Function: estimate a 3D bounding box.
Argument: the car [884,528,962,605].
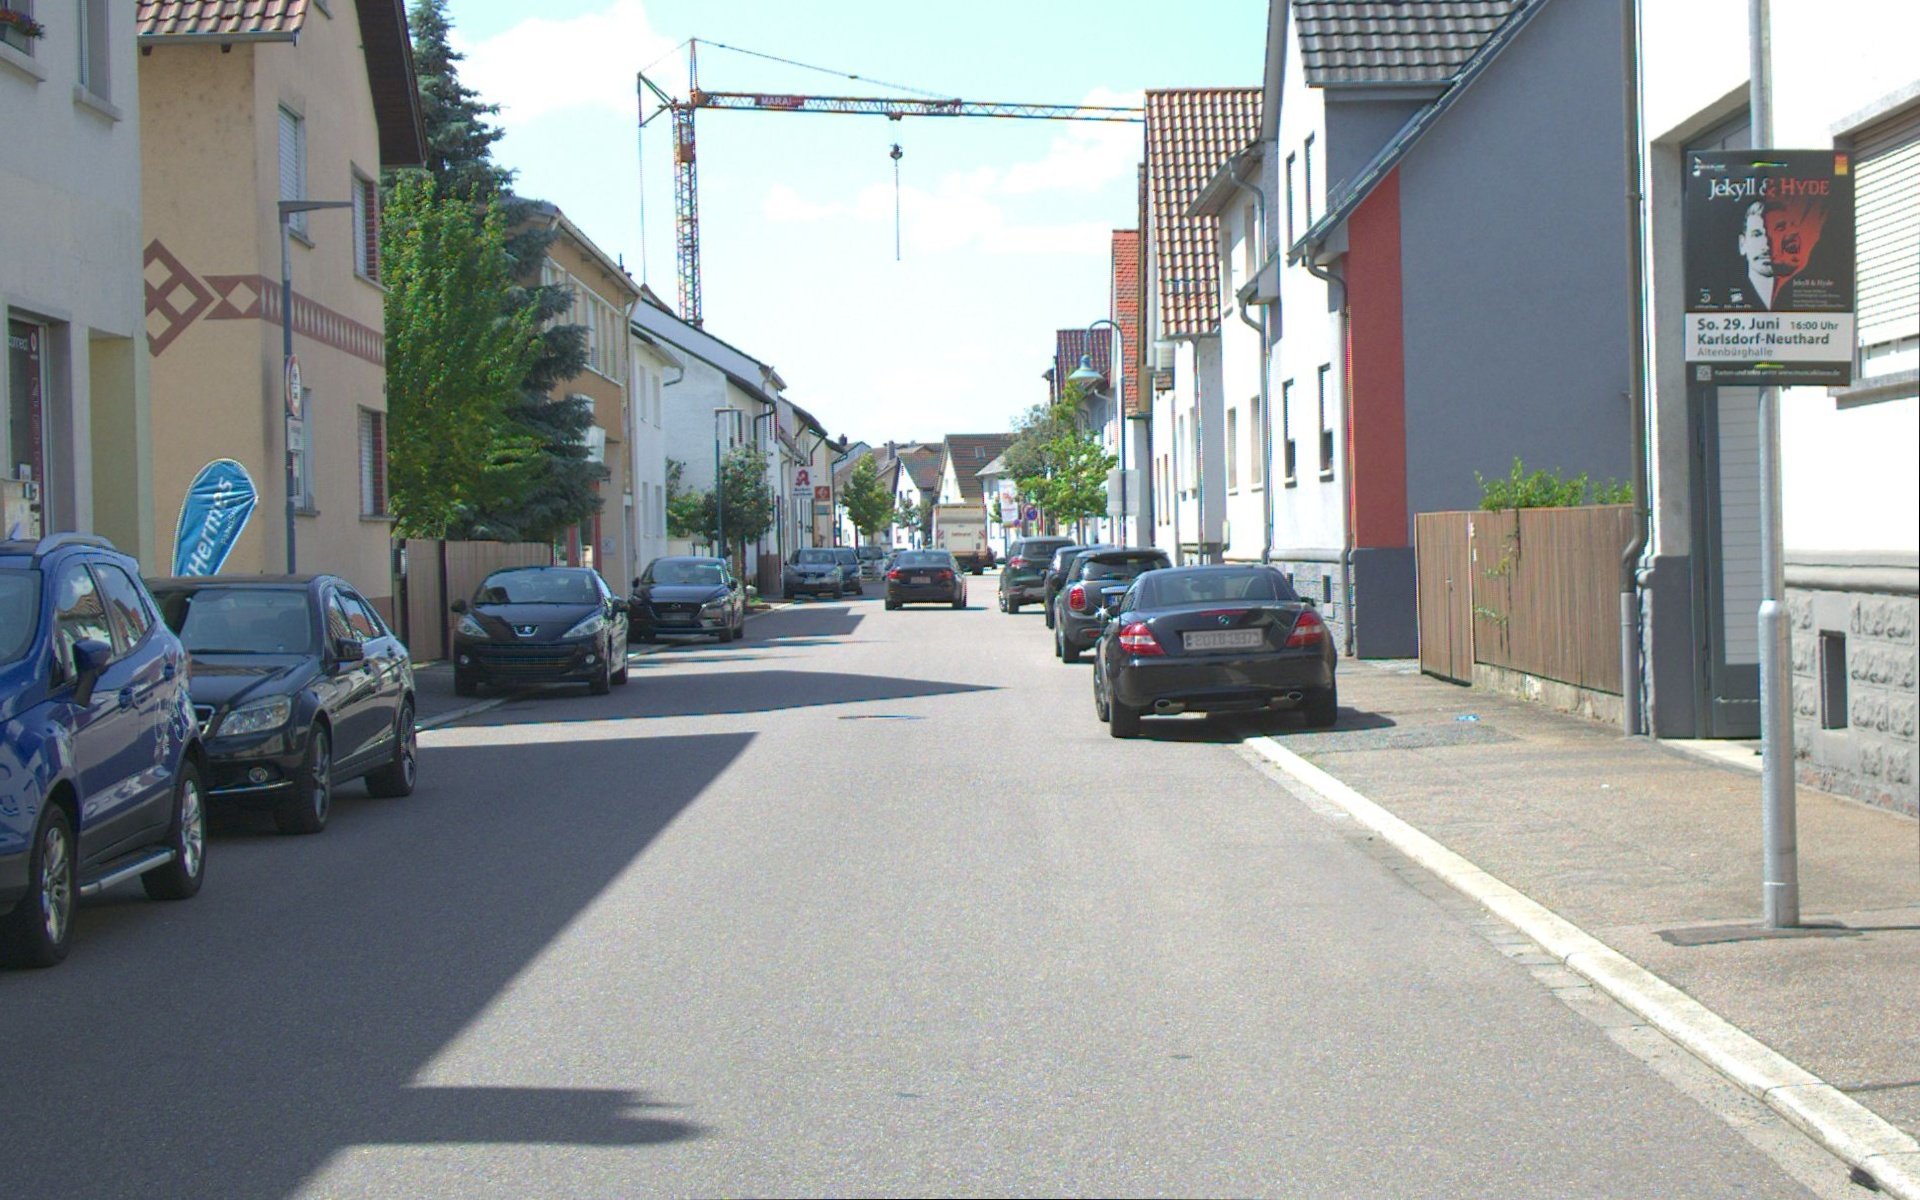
[{"bbox_3d":[-0.922,-0.818,83.965,1.783,1.747,4.000,-3,1,-1],"label":"car"}]

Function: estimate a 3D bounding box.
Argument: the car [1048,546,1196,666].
[{"bbox_3d":[2.060,0.049,44.443,1.688,1.417,3.657,-2,1,0],"label":"car"}]

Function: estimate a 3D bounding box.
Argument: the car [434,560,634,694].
[{"bbox_3d":[-4.730,0.263,38.661,1.761,1.369,4.067,-1,1,0],"label":"car"}]

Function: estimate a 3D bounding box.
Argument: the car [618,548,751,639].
[{"bbox_3d":[-4.720,-0.143,59.433,1.768,1.455,4.436,-2,1,2],"label":"car"}]

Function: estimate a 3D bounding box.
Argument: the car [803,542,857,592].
[{"bbox_3d":[-4.378,-1.124,115.847,1.653,1.603,4.061,-2,1,-1],"label":"car"}]

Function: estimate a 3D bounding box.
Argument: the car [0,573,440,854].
[{"bbox_3d":[-4.322,0.593,20.606,1.697,1.407,4.390,-2,1,0],"label":"car"}]

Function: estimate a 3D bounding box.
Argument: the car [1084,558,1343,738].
[{"bbox_3d":[1.988,0.338,28.023,1.816,1.271,4.147,-2,1,1],"label":"car"}]

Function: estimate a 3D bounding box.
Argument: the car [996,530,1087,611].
[{"bbox_3d":[1.802,-0.687,76.966,1.728,1.711,4.276,-2,1,-2],"label":"car"}]

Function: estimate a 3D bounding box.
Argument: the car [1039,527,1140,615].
[{"bbox_3d":[2.398,-0.565,64.443,1.617,1.490,3.972,-4,1,0],"label":"car"}]

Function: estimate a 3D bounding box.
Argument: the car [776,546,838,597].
[{"bbox_3d":[-4.828,-0.924,108.936,1.758,1.519,4.289,-2,1,-1],"label":"car"}]

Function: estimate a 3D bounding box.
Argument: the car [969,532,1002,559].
[{"bbox_3d":[1.585,-3.403,214.892,1.782,1.558,4.337,-3,1,-2],"label":"car"}]

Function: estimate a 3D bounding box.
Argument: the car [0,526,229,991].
[{"bbox_3d":[-4.306,0.568,14.121,1.717,1.634,4.149,-4,1,-1],"label":"car"}]

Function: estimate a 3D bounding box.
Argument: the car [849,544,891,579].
[{"bbox_3d":[-4.064,-1.752,155.131,1.723,1.550,4.172,-1,1,1],"label":"car"}]

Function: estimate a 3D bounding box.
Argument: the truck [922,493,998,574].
[{"bbox_3d":[-0.059,-3.372,177.185,3.379,3.852,13.927,-3,1,-1],"label":"truck"}]
